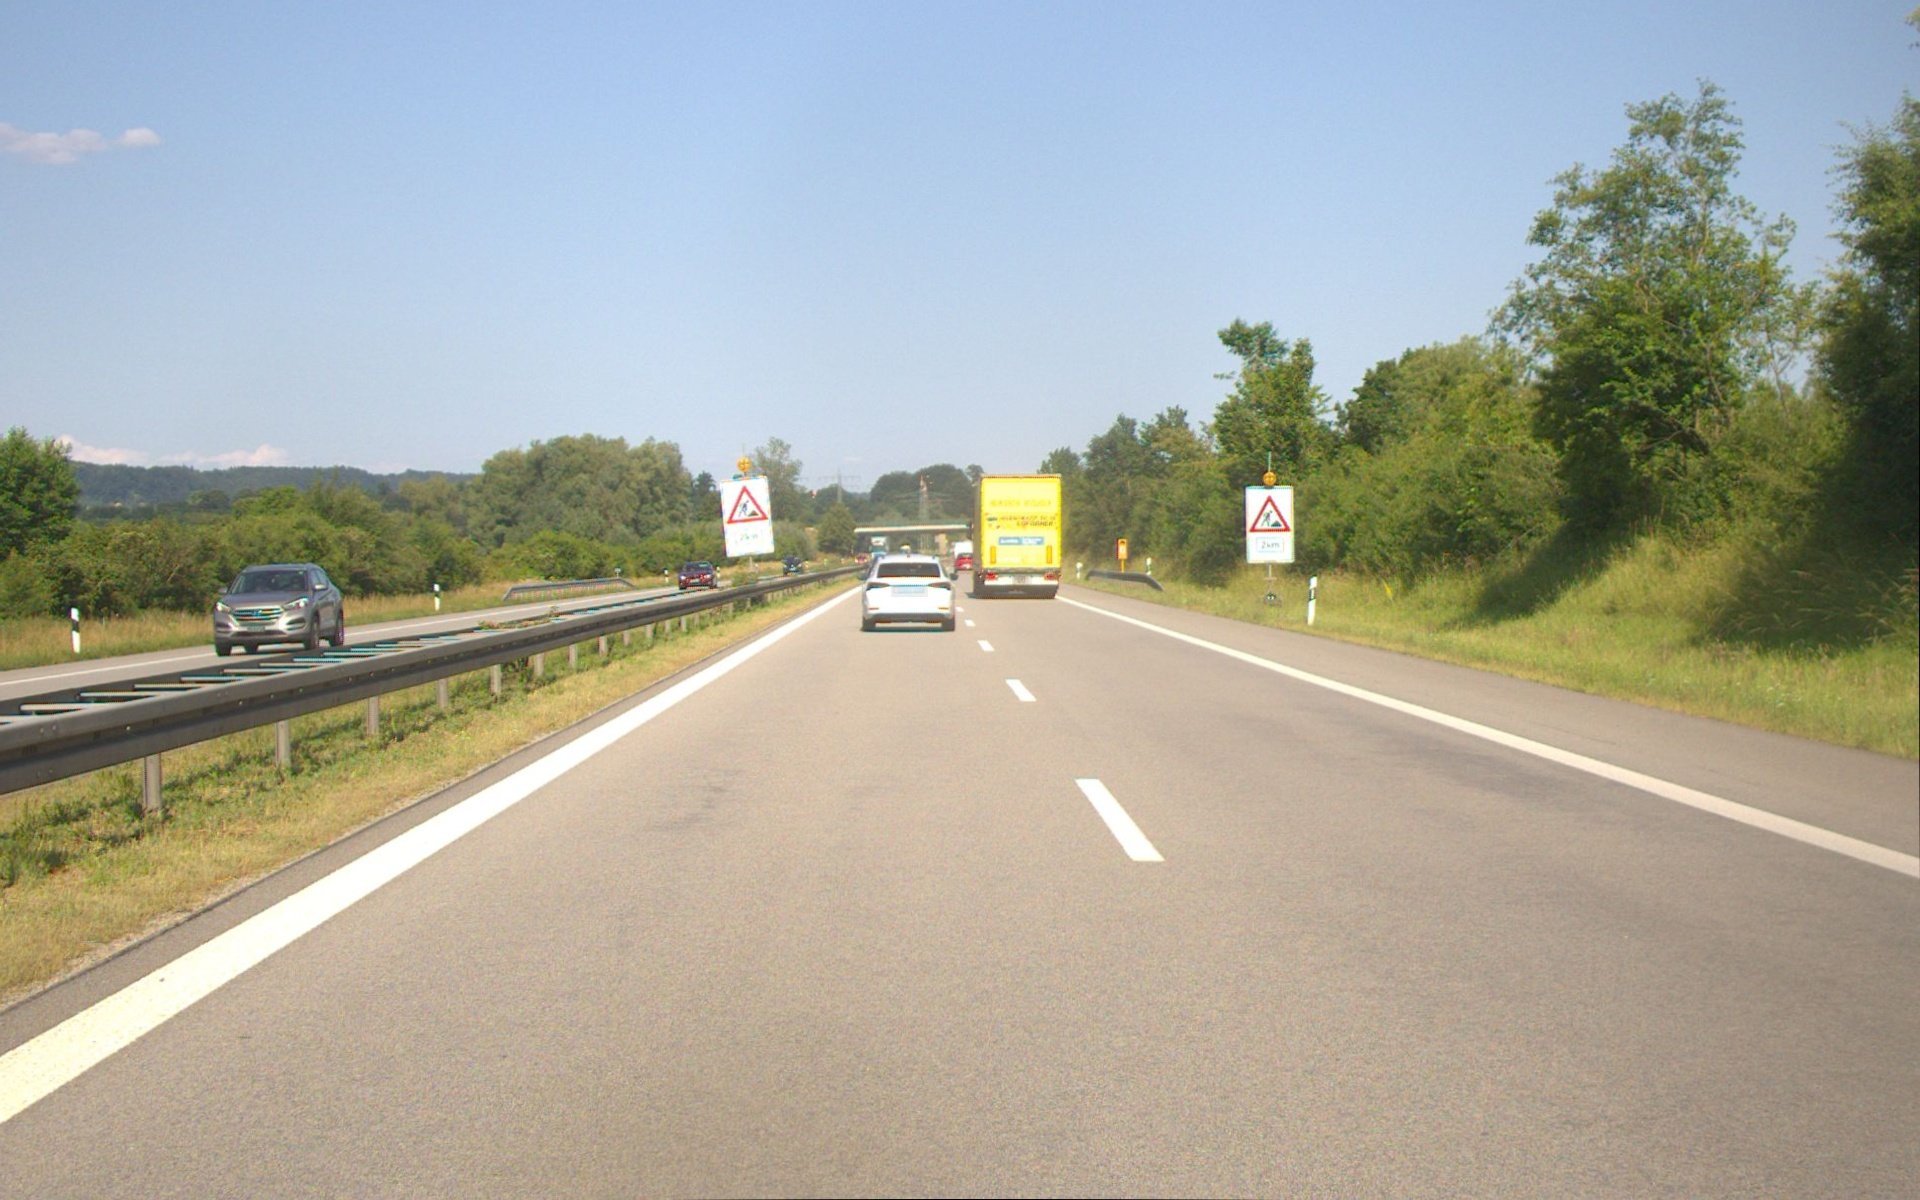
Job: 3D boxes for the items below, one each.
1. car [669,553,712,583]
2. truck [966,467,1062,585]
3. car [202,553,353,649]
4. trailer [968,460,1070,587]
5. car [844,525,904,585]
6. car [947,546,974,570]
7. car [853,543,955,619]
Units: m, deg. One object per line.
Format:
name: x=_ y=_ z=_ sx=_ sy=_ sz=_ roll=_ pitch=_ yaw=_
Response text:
car: x=-13.743 y=-1.643 z=175.247 sx=1.832 sy=1.393 sz=4.923 roll=-4 pitch=1 yaw=-1
truck: x=1.897 y=-2.621 z=123.336 sx=3.168 sy=4.100 sz=6.389 roll=1 pitch=1 yaw=-1
car: x=-12.804 y=-0.007 z=64.738 sx=1.902 sy=1.677 sz=4.731 roll=-2 pitch=1 yaw=-1
trailer: x=1.908 y=-2.550 z=117.352 sx=3.184 sy=4.045 sz=13.187 roll=1 pitch=1 yaw=0
car: x=-2.942 y=-1.543 z=118.378 sx=1.993 sy=2.007 sz=4.000 roll=1 pitch=1 yaw=-1
car: x=0.035 y=-3.107 z=255.731 sx=1.902 sy=1.677 sz=4.731 roll=2 pitch=1 yaw=-1
car: x=-1.052 y=-0.377 z=66.116 sx=1.843 sy=1.411 sz=4.000 roll=1 pitch=1 yaw=1
